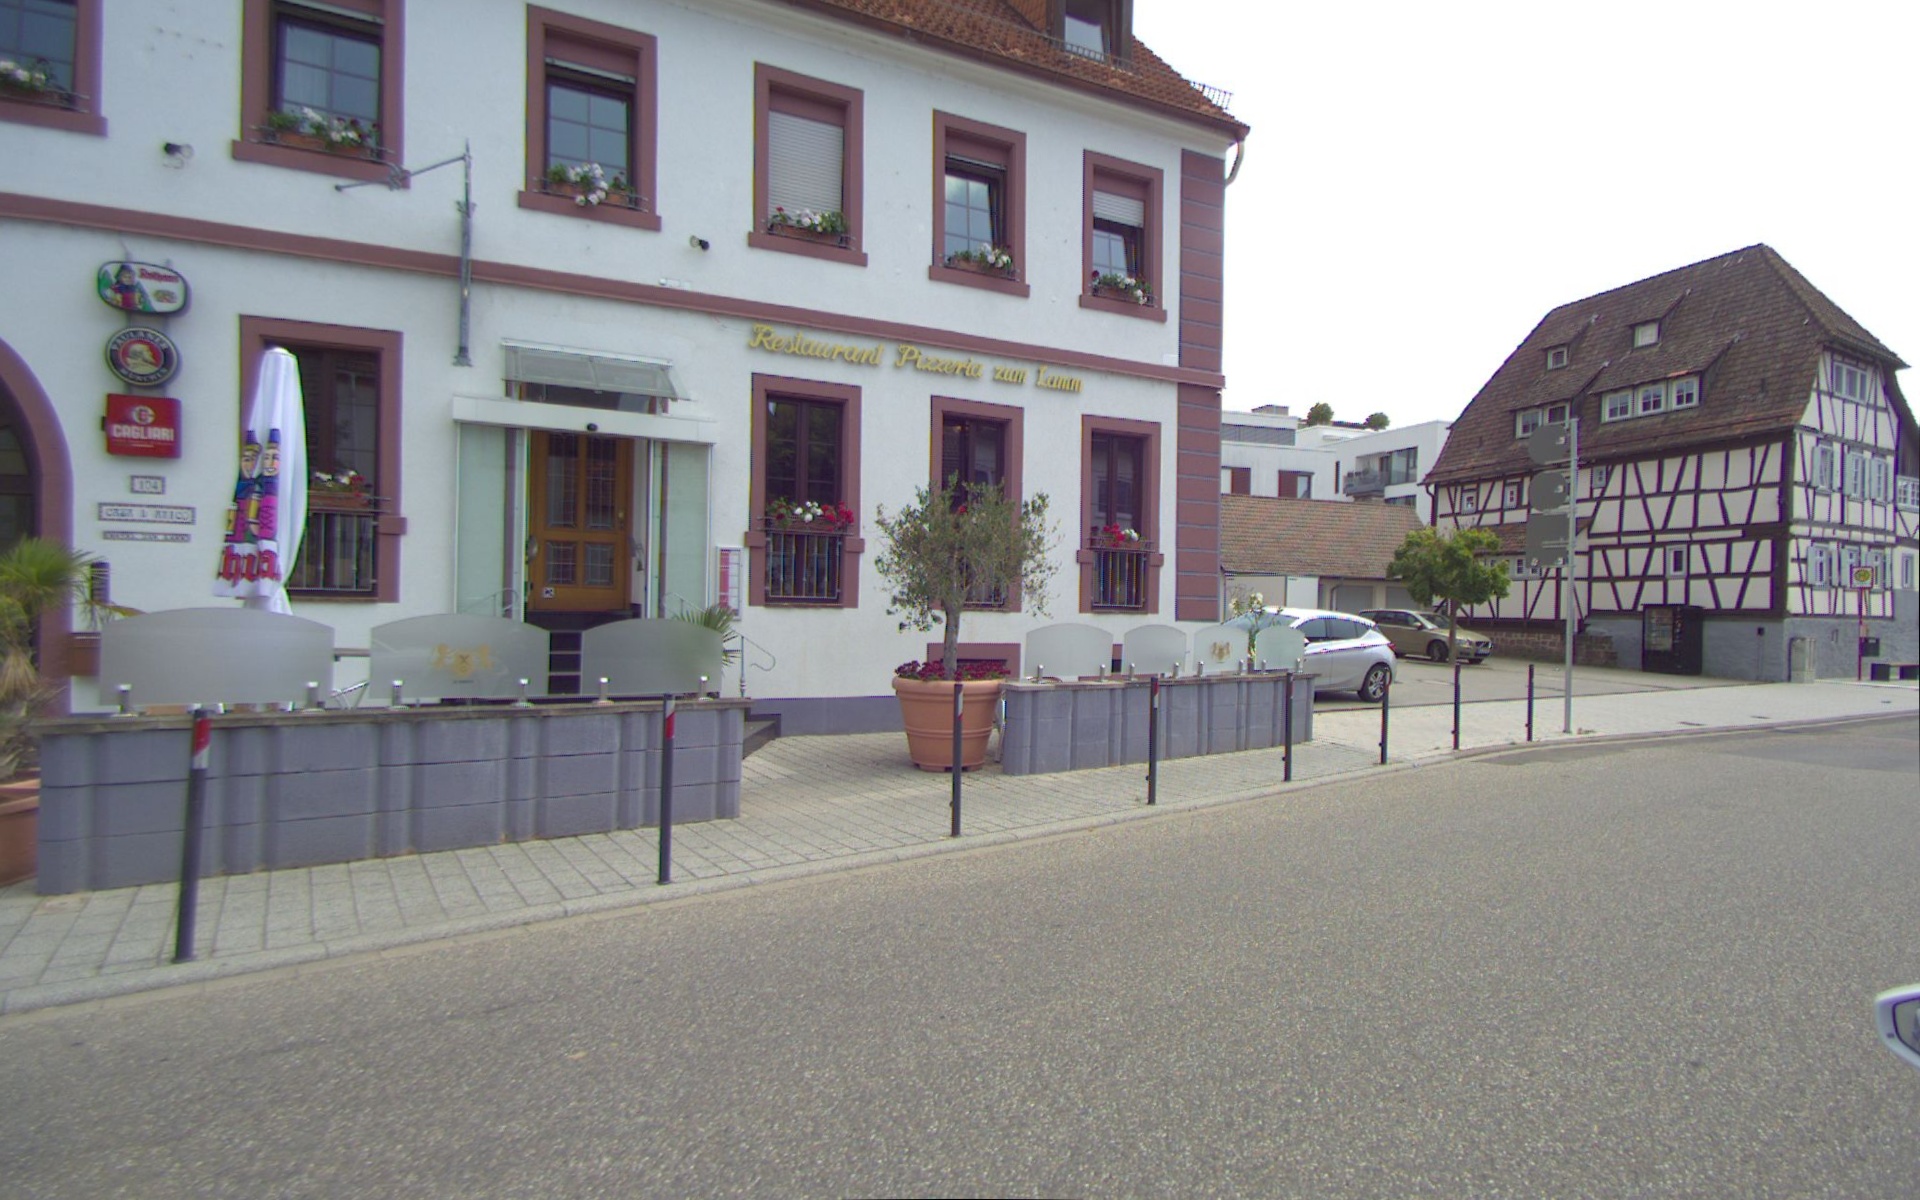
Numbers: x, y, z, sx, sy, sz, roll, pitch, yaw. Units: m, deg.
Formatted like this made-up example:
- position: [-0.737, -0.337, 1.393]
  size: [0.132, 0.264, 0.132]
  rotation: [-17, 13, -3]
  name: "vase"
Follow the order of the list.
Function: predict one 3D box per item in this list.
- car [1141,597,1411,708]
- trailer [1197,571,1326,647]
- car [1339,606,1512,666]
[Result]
- position: [5.257, 0.829, 16.619]
  size: [4.223, 1.512, 1.750]
  rotation: [2, 3, -29]
  name: "car"
- position: [10.837, 0.270, 36.408]
  size: [1.938, 2.458, 4.412]
  rotation: [2, 2, -25]
  name: "trailer"
- position: [13.813, 1.024, 30.083]
  size: [1.939, 1.407, 4.410]
  rotation: [1, 2, -26]
  name: "car"
